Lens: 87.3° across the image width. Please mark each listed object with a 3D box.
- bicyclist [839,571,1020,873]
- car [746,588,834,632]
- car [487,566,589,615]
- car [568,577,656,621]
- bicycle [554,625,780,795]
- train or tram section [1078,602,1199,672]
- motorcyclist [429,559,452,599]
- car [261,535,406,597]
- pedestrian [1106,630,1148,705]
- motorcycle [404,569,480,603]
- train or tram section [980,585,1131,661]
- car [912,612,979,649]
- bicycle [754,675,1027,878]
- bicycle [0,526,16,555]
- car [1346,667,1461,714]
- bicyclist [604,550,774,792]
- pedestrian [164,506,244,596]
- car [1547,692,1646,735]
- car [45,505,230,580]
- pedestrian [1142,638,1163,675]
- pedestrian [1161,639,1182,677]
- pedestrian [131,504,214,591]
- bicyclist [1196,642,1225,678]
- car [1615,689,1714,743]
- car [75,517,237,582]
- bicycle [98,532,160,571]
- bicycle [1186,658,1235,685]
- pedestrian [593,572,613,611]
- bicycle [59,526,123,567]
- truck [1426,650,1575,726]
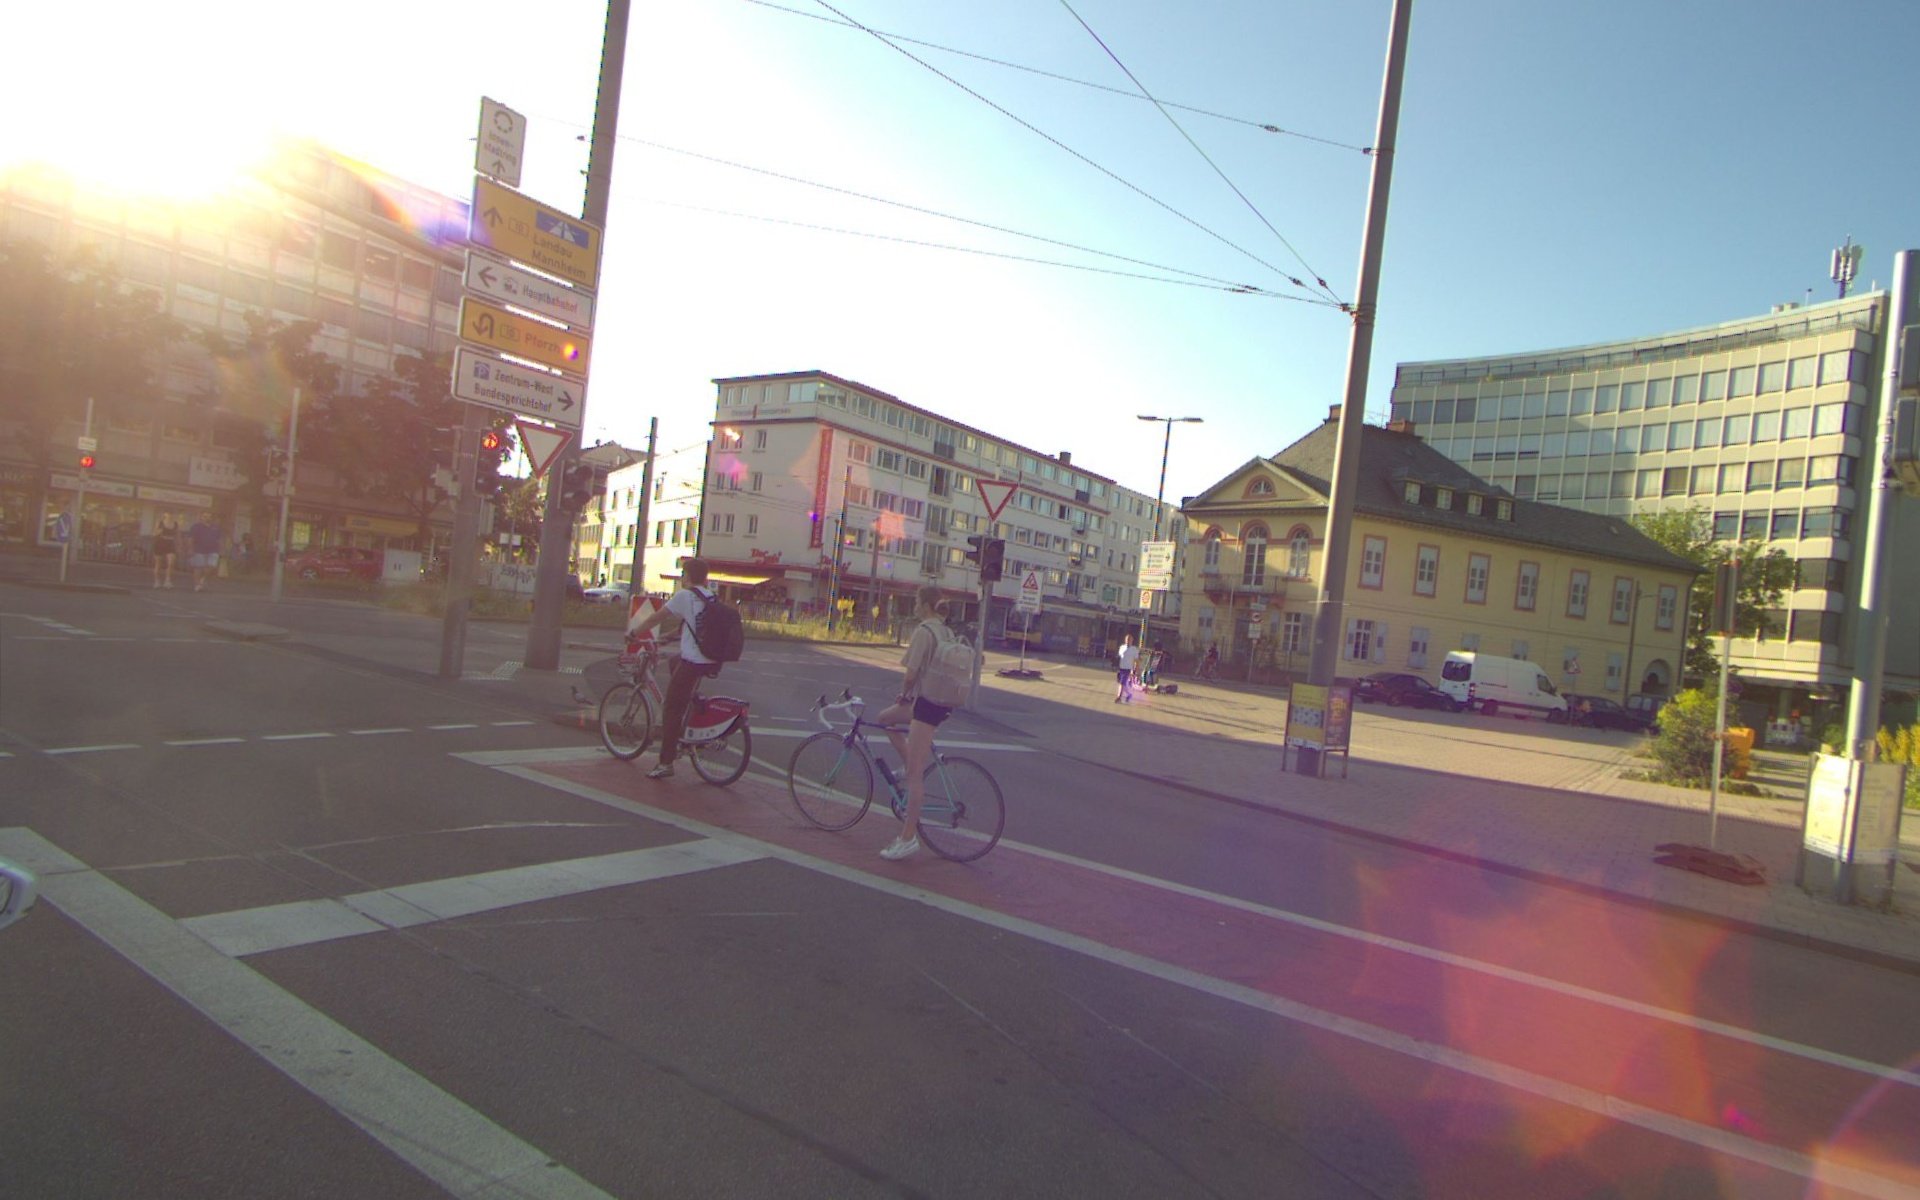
[{"bbox_3d":[-0.187,0.755,6.502,0.778,1.766,0.615,6,-1,27],"label":"bicyclist"},{"bbox_3d":[-9.649,0.593,57.405,4.602,1.863,1.880,9,-3,-45],"label":"car"},{"bbox_3d":[-18.381,-0.379,44.011,1.809,1.636,4.005,6,-2,18],"label":"car"},{"bbox_3d":[-16.896,0.004,49.106,1.810,1.636,4.004,6,-2,20],"label":"car"},{"bbox_3d":[-2.419,0.865,8.241,1.777,1.113,0.543,6,-2,27],"label":"bicycle"},{"bbox_3d":[13.852,2.971,76.614,3.657,3.876,12.956,6,-3,35],"label":"train or tram section"},{"bbox_3d":[-20.679,-0.824,40.061,0.527,1.526,0.460,6,-1,37],"label":"motorcyclist"},{"bbox_3d":[-22.832,-1.208,36.798,1.816,1.636,3.990,6,-3,36],"label":"car"},{"bbox_3d":[4.198,1.699,25.288,0.746,1.782,1.009,6,-1,16],"label":"pedestrian"},{"bbox_3d":[-20.635,-0.555,40.152,0.527,1.012,2.664,6,-3,36],"label":"motorcycle"},{"bbox_3d":[6.563,1.688,65.735,3.657,3.879,13.326,6,-1,34],"label":"train or tram section"},{"bbox_3d":[-0.963,2.169,70.631,1.971,2.036,4.858,6,-3,38],"label":"car"},{"bbox_3d":[-0.475,1.113,6.661,1.664,1.013,0.543,6,-2,27],"label":"bicycle"},{"bbox_3d":[-33.816,-2.173,34.431,0.660,0.951,2.029,6,-3,31],"label":"bicycle"},{"bbox_3d":[18.296,3.745,41.546,4.132,1.380,1.709,8,-2,-17],"label":"car"},{"bbox_3d":[-2.199,0.555,8.168,1.042,1.788,0.543,6,-1,27],"label":"bicyclist"},{"bbox_3d":[-16.852,-1.078,22.442,1.024,1.814,0.697,7,-1,-6],"label":"pedestrian"},{"bbox_3d":[28.781,5.132,45.523,3.706,1.380,1.709,8,-2,-17],"label":"car"},{"bbox_3d":[-25.293,-1.738,31.061,1.816,1.636,3.990,6,-3,36],"label":"car"},{"bbox_3d":[8.976,2.636,46.900,0.802,1.661,0.687,6,-1,10],"label":"pedestrian"},{"bbox_3d":[9.837,2.718,46.794,0.802,1.661,0.687,6,-1,11],"label":"pedestrian"},{"bbox_3d":[-16.955,-1.110,21.678,1.024,1.702,0.697,7,-1,-6],"label":"pedestrian"},{"bbox_3d":[11.166,2.680,44.866,0.885,1.474,0.722,7,-1,-18],"label":"bicyclist"},{"bbox_3d":[32.842,5.388,46.904,3.705,2.003,1.709,8,-2,-17],"label":"car"},{"bbox_3d":[-28.679,-1.774,35.990,1.816,1.636,4.070,6,-3,36],"label":"car"},{"bbox_3d":[-32.286,-1.890,39.078,2.594,1.157,0.751,9,0,26],"label":"bicycle"},{"bbox_3d":[11.186,3.196,44.887,1.962,0.959,0.722,8,-2,-18],"label":"bicycle"},{"bbox_3d":[-19.984,-0.475,56.317,0.623,2.037,0.706,8,-2,-43],"label":"pedestrian"},{"bbox_3d":[-32.866,-2.018,38.034,2.594,1.157,0.751,9,0,26],"label":"bicycle"},{"bbox_3d":[23.509,3.811,43.753,5.556,2.578,2.294,8,-2,-17],"label":"truck"}]
